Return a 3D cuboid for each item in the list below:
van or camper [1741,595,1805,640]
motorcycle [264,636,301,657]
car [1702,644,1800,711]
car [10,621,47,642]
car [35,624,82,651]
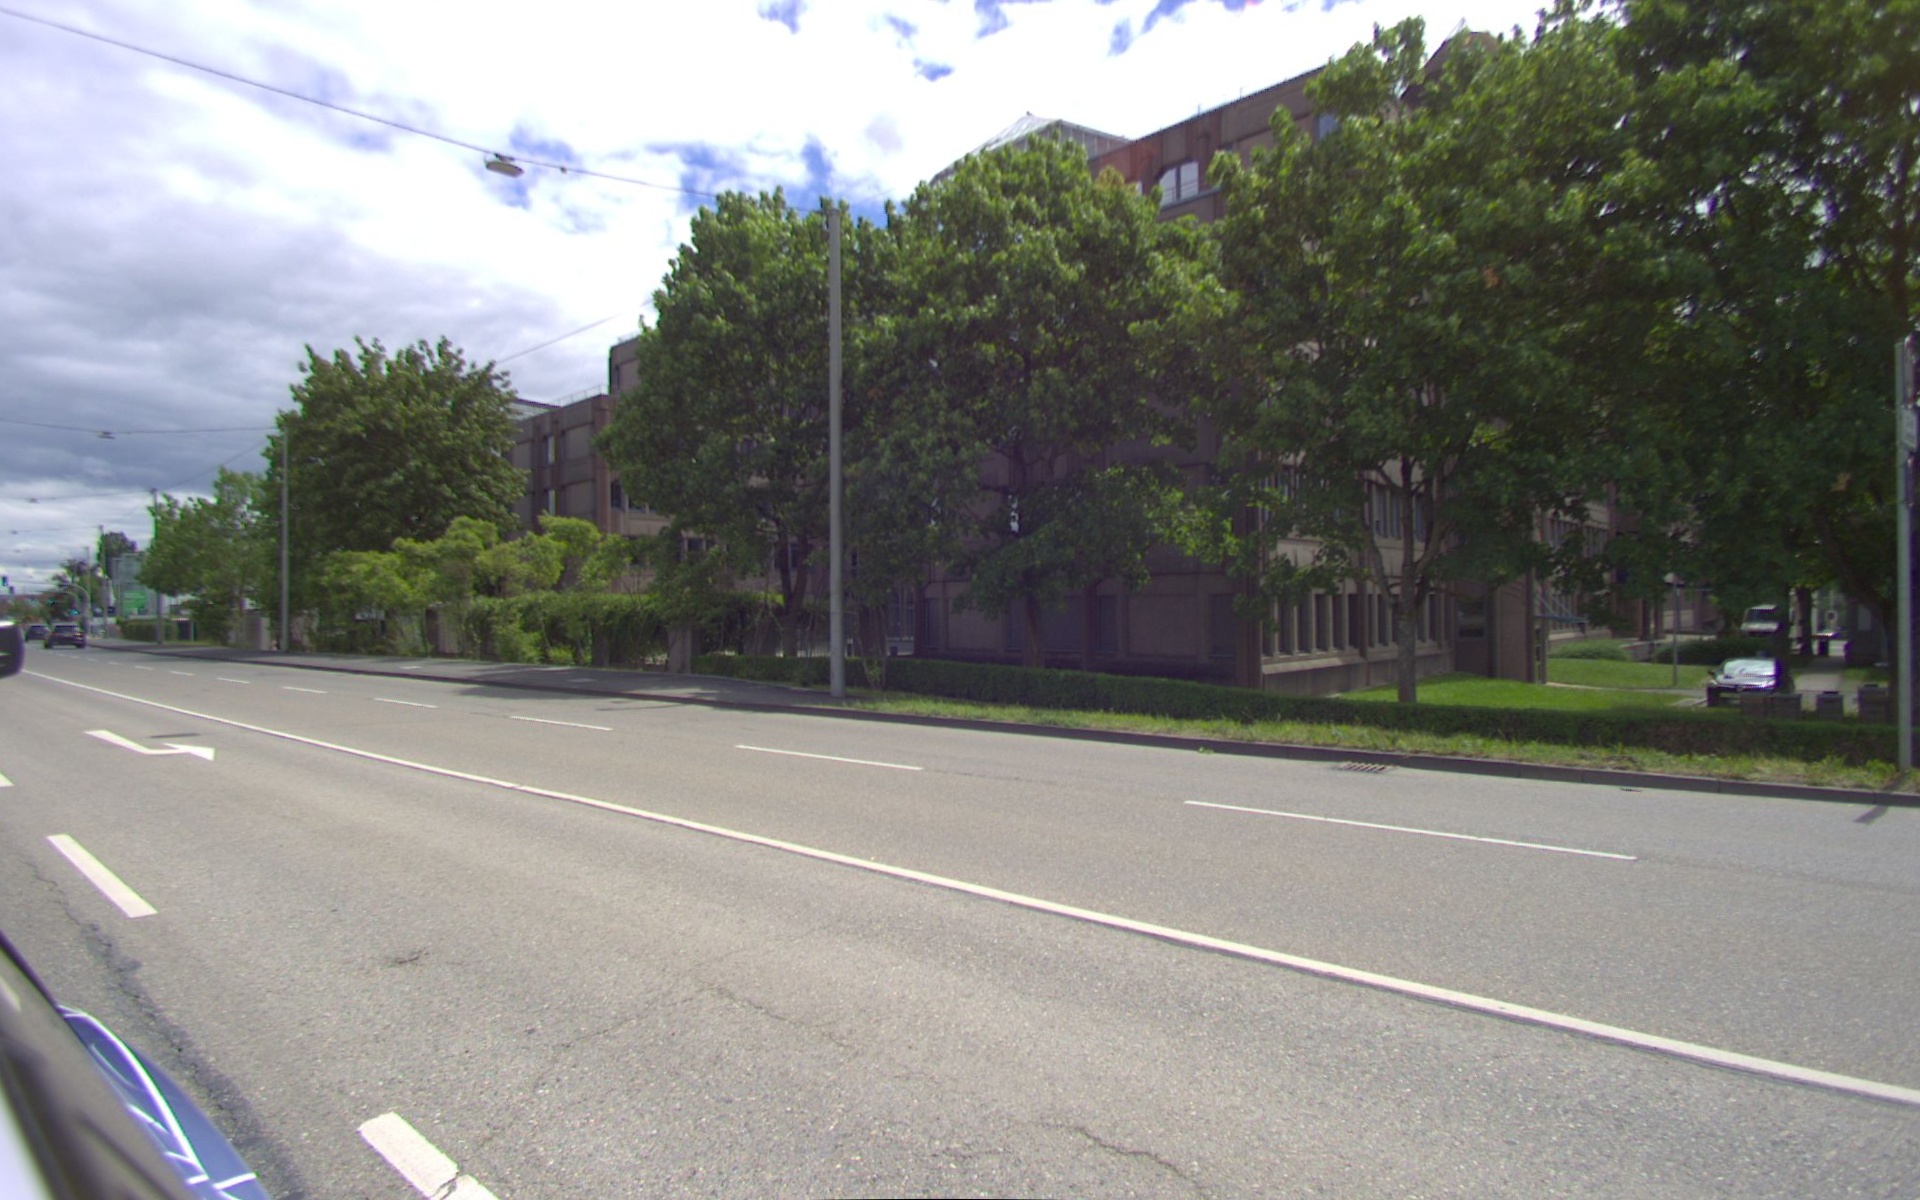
[{"bbox_3d":[39.888,0.818,49.652,2.356,2.120,5.136,0,0,39],"label":"van or camper"},{"bbox_3d":[-43.774,2.999,65.434,0.745,1.254,1.880,-1,-1,41],"label":"motorcycle"},{"bbox_3d":[22.602,2.179,28.872,1.787,1.741,3.942,-1,-4,44],"label":"car"},{"bbox_3d":[-75.963,2.539,82.529,4.312,1.597,1.777,-1,0,42],"label":"car"},{"bbox_3d":[-58.014,2.376,65.095,4.572,1.627,1.847,-1,-1,43],"label":"car"}]
